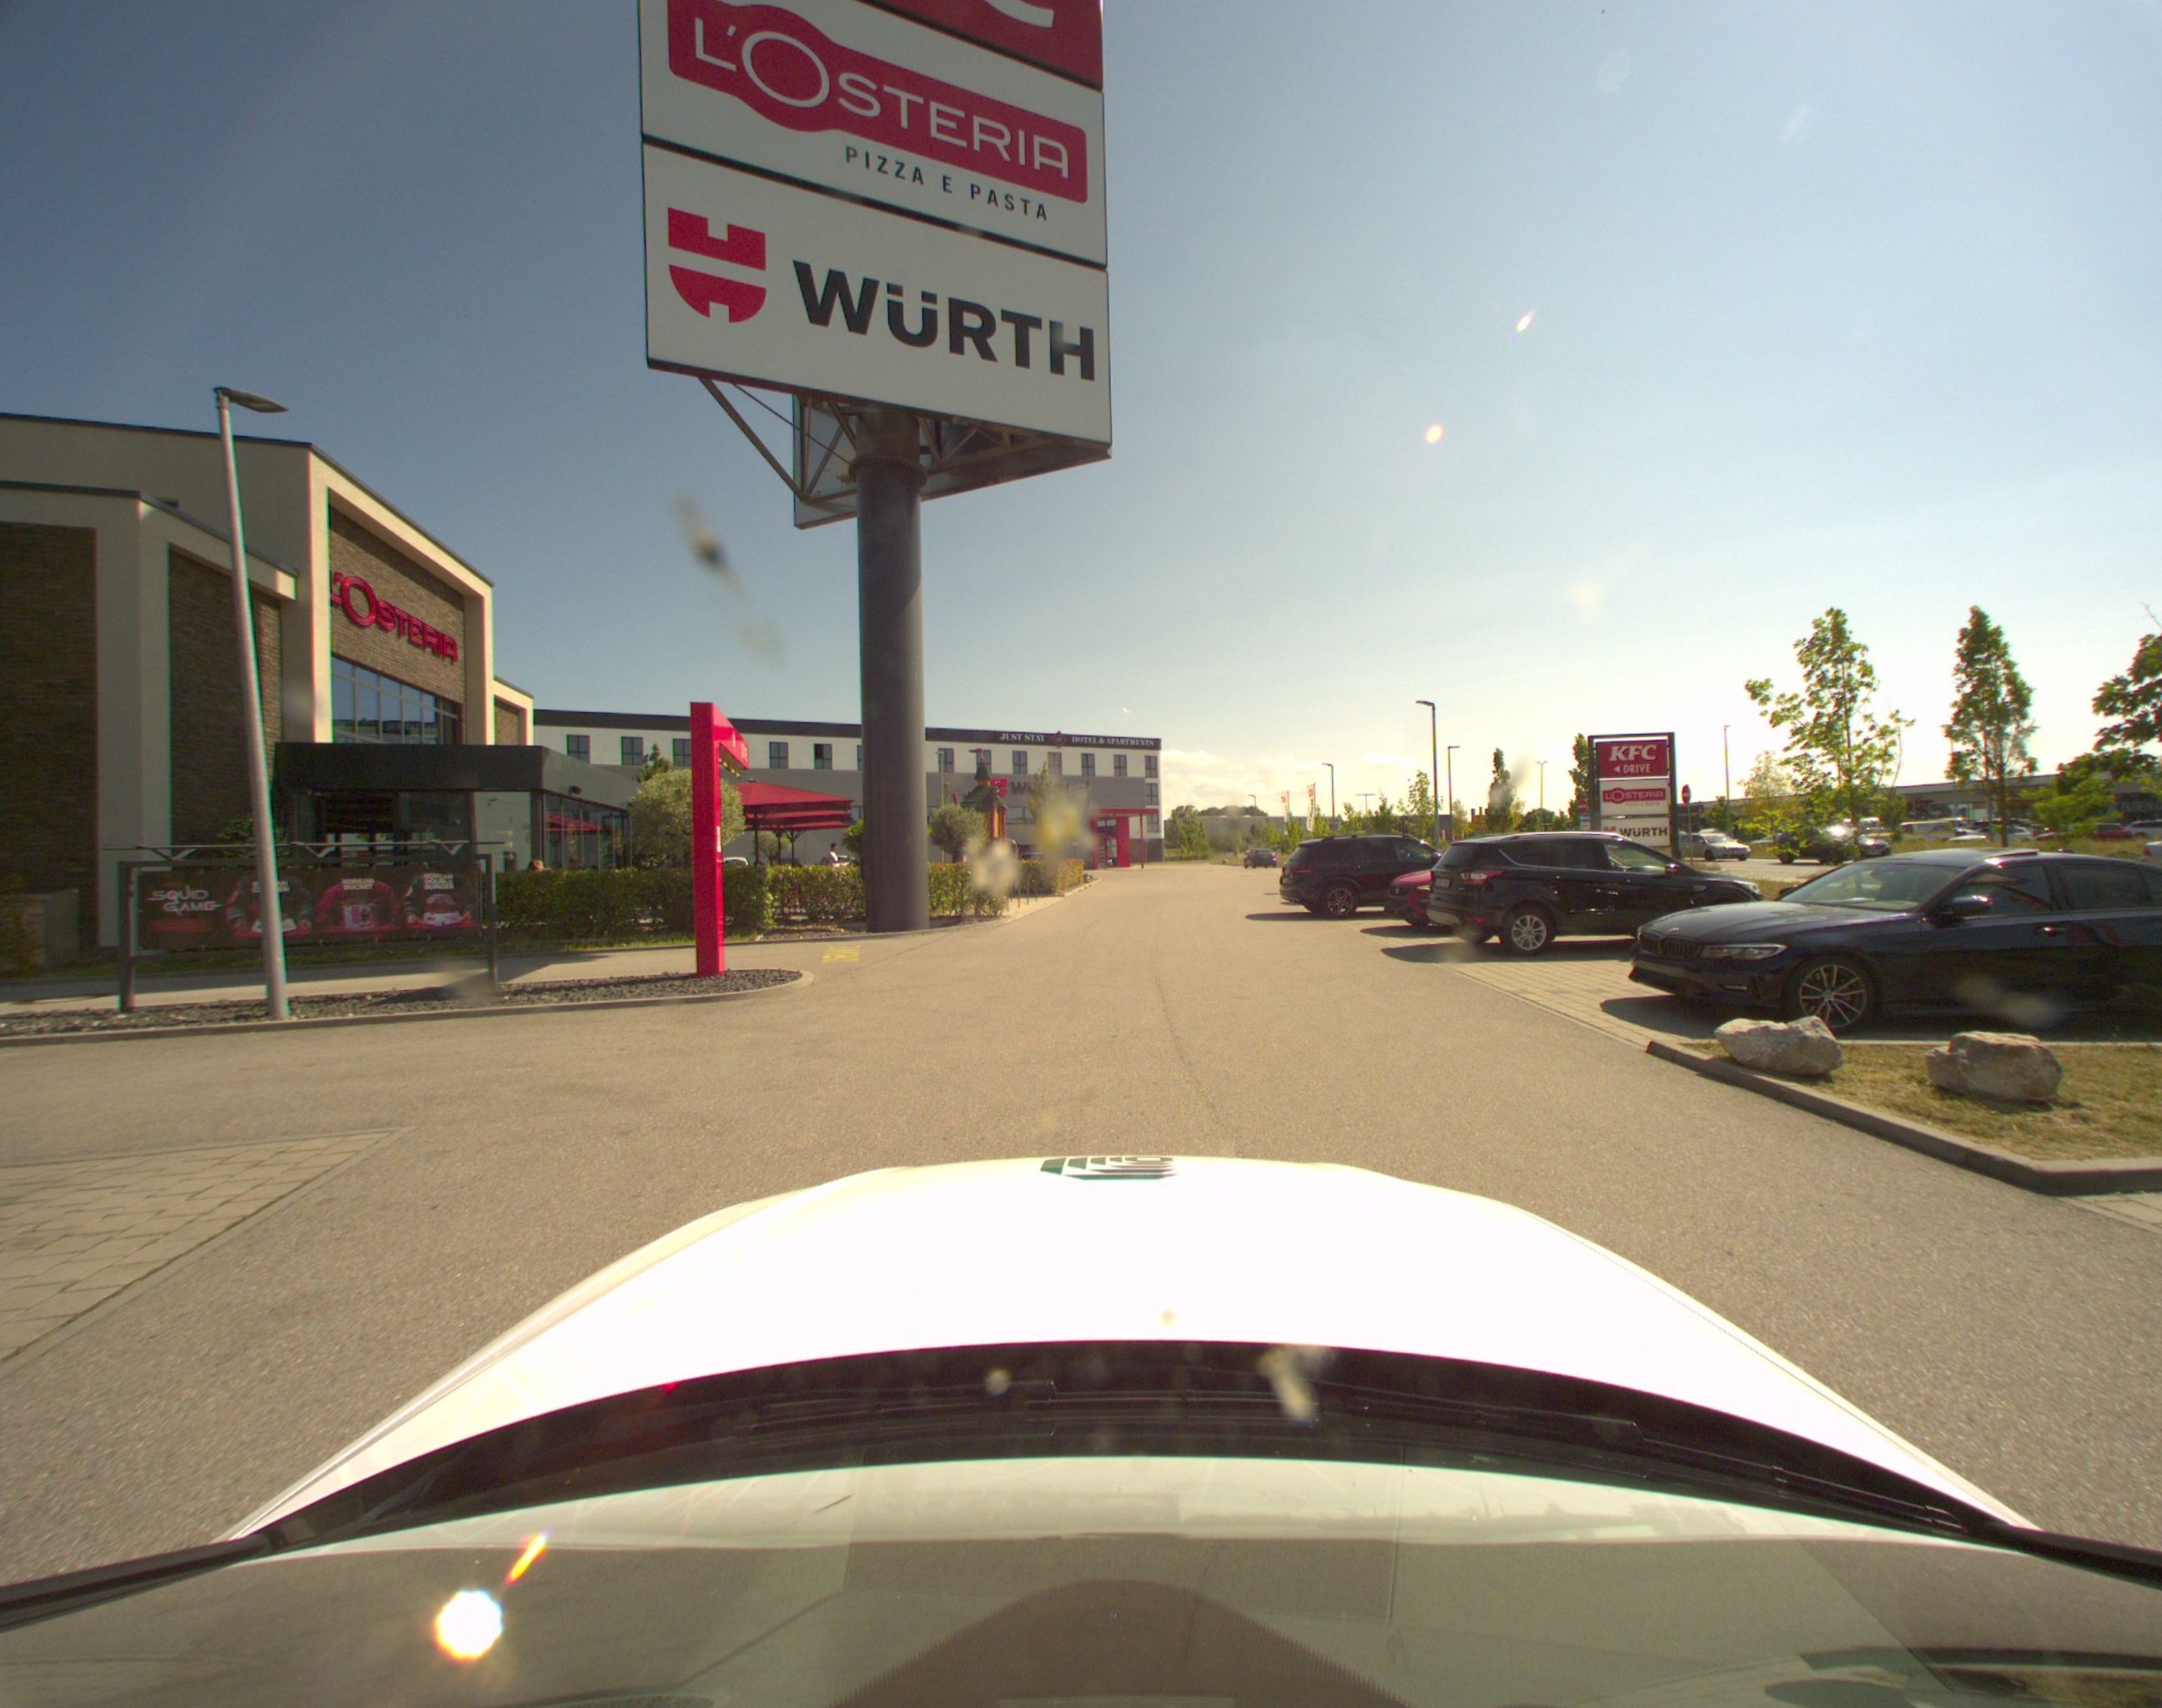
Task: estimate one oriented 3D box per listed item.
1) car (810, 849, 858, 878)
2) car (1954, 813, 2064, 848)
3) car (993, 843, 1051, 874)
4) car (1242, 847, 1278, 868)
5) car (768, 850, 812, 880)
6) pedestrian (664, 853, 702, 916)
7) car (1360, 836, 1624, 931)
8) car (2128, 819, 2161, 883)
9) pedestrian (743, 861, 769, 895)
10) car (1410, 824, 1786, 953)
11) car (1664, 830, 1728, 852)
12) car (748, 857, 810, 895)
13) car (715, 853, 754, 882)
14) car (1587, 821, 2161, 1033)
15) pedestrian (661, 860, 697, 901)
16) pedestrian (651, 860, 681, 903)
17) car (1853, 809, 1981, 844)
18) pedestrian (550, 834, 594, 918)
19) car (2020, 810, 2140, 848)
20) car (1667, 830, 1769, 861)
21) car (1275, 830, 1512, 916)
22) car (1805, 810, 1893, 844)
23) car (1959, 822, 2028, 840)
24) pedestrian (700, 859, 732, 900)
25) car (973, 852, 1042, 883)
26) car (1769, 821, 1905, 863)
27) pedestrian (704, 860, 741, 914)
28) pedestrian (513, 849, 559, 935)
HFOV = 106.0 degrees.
[{"bbox_3d":[-14.599,0.541,48.030,1.958,1.586,4.338,-2,1,-27],"label":"car"},{"bbox_3d":[58.696,-1.479,51.546,5.156,2.013,1.996,-1,0,-7],"label":"car"},{"bbox_3d":[-3.786,0.266,51.727,2.081,1.880,4.839,-2,1,-25],"label":"car"},{"bbox_3d":[13.098,0.251,59.741,1.694,1.406,3.894,-1,0,-2],"label":"car"},{"bbox_3d":[-16.729,0.586,46.694,1.890,1.586,4.073,-2,1,-27],"label":"car"},{"bbox_3d":[-8.937,0.675,18.291,0.654,1.366,0.476,-2,0,-41],"label":"pedestrian"},{"bbox_3d":[7.561,0.488,15.199,4.064,1.608,1.891,-1,0,-7],"label":"car"},{"bbox_3d":[26.693,-0.076,17.730,1.985,1.526,4.662,-1,1,4],"label":"car"},{"bbox_3d":[-10.483,0.769,26.286,0.574,1.089,0.545,-1,0,0],"label":"pedestrian"},{"bbox_3d":[7.360,0.467,11.964,4.301,1.702,1.897,-1,0,2],"label":"car"},{"bbox_3d":[60.254,-1.260,79.814,5.054,2.013,1.996,-1,0,-7],"label":"car"},{"bbox_3d":[-11.302,0.785,30.661,1.644,1.308,3.825,-2,0,-12],"label":"car"},{"bbox_3d":[-19.395,0.721,45.502,1.741,1.487,3.916,-2,1,-27],"label":"car"},{"bbox_3d":[7.346,0.574,7.290,4.417,1.638,1.897,-1,0,3],"label":"car"},{"bbox_3d":[-12.121,0.782,24.554,0.702,1.198,0.619,-1,0,15],"label":"pedestrian"},{"bbox_3d":[-11.958,0.780,23.479,0.711,1.198,0.663,-1,0,-23],"label":"pedestrian"},{"bbox_3d":[58.392,-1.884,56.991,6.276,2.237,2.814,-1,0,-3],"label":"car"},{"bbox_3d":[-9.338,0.389,14.955,0.525,1.505,0.565,-1,0,-18],"label":"pedestrian"},{"bbox_3d":[57.087,-1.402,46.609,4.054,2.013,2.004,-1,0,7],"label":"car"},{"bbox_3d":[33.757,-0.452,43.369,1.985,1.504,4.662,-1,1,3],"label":"car"},{"bbox_3d":[6.793,0.398,18.092,4.558,1.760,1.896,-1,0,1],"label":"car"},{"bbox_3d":[57.886,-2.010,61.422,5.054,2.455,1.996,-1,0,-7],"label":"car"},{"bbox_3d":[75.123,-1.907,67.097,1.431,1.400,3.465,-1,1,-17],"label":"car"},{"bbox_3d":[-11.017,0.773,24.584,0.707,1.198,0.615,-1,0,-8],"label":"pedestrian"},{"bbox_3d":[-3.686,0.634,40.042,1.872,1.362,4.338,-2,1,-27],"label":"car"},{"bbox_3d":[32.476,-0.510,35.188,1.863,1.664,4.610,-1,1,5],"label":"car"},{"bbox_3d":[-8.166,0.728,18.548,0.654,1.185,0.476,-2,0,-41],"label":"pedestrian"},{"bbox_3d":[-9.884,0.667,14.779,0.525,1.505,0.565,-1,0,-18],"label":"pedestrian"}]
